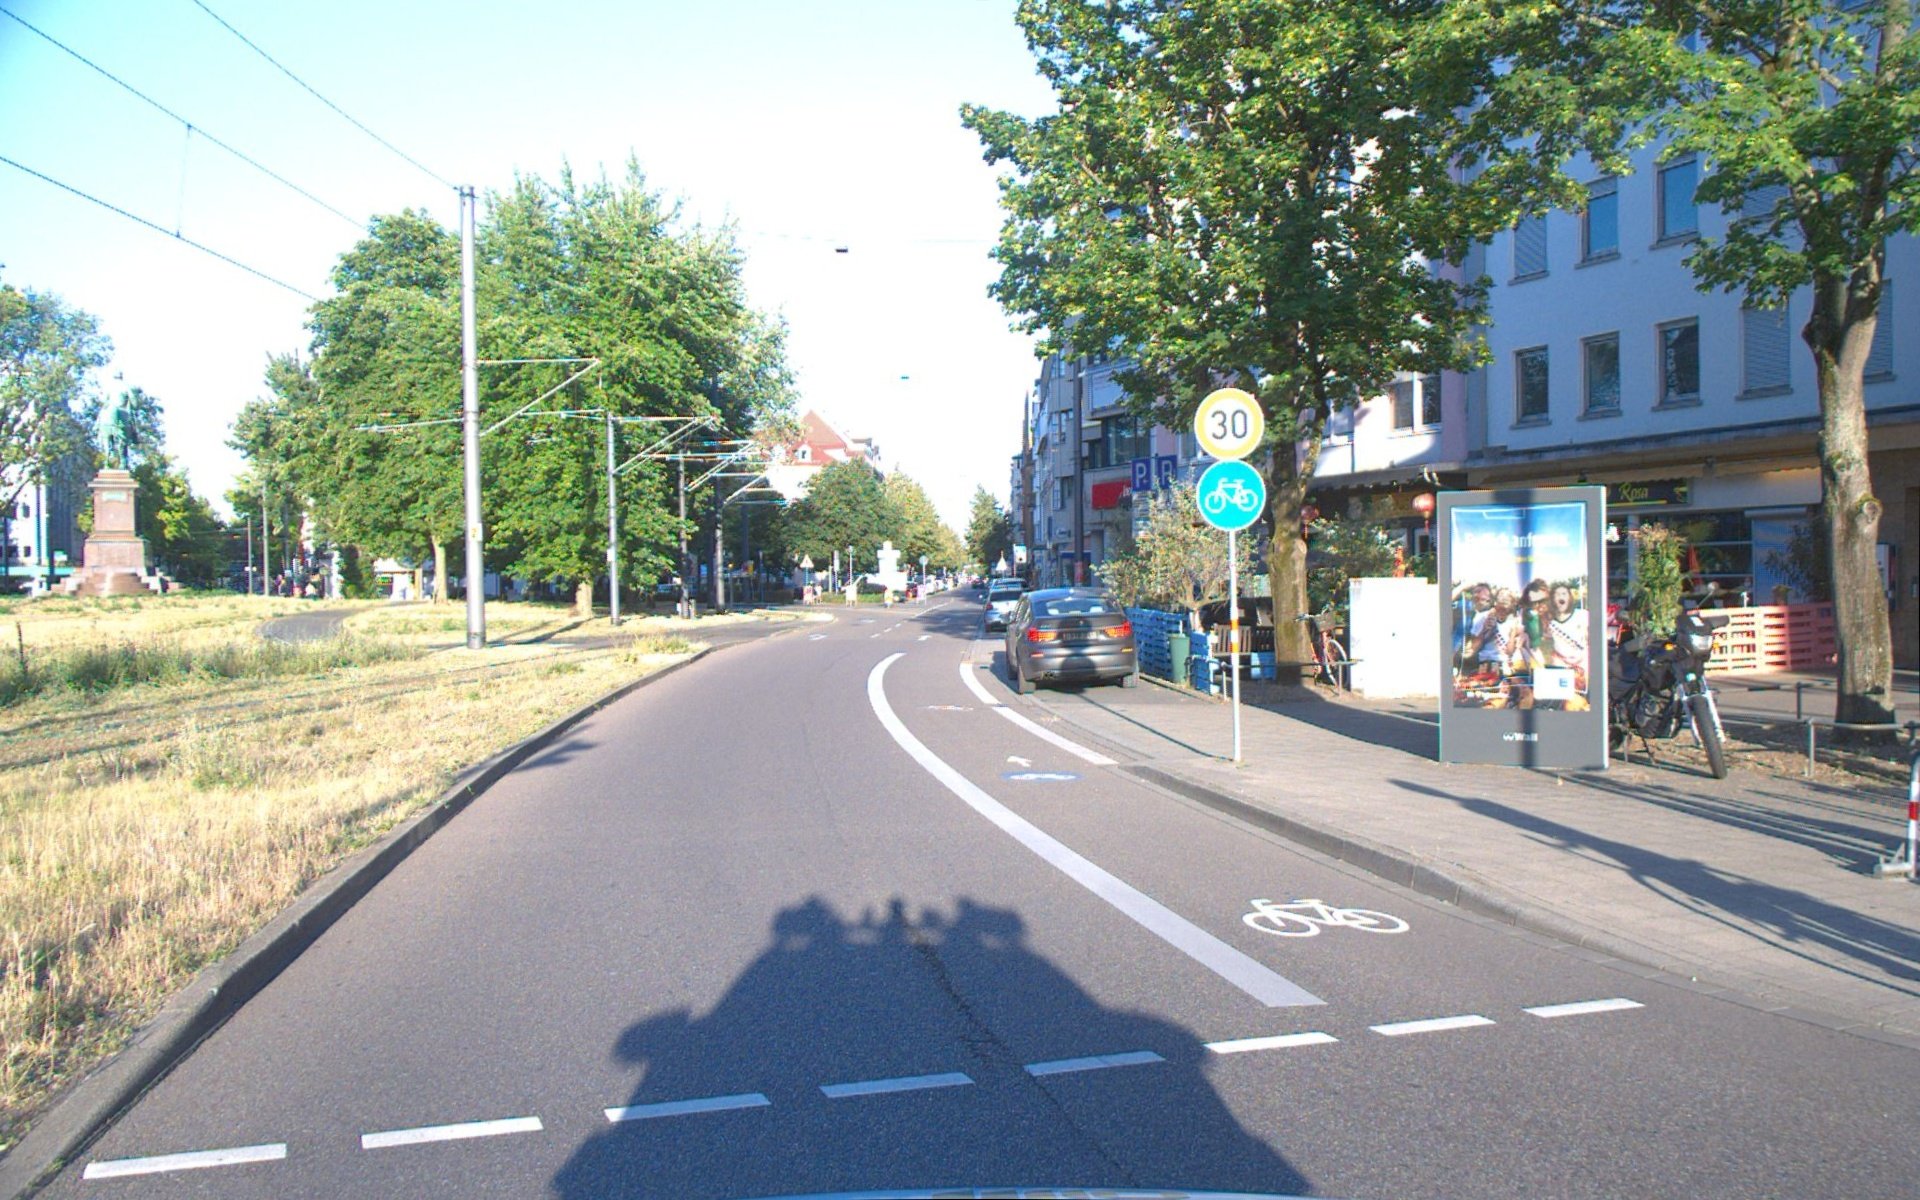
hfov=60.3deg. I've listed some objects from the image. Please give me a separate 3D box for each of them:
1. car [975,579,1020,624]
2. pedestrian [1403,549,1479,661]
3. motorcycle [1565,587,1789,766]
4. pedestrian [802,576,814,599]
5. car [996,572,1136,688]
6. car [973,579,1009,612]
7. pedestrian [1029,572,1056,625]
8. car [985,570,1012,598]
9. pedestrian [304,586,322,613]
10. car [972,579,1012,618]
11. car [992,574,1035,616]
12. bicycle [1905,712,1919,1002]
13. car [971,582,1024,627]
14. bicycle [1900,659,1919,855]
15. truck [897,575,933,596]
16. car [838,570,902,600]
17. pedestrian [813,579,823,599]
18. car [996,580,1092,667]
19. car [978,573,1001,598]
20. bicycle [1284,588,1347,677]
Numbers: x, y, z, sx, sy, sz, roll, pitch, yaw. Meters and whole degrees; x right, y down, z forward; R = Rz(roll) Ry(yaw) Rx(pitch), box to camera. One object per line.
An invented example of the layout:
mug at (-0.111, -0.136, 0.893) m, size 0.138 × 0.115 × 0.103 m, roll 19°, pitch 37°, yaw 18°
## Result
car at (1.380, 0.017, 62.365) m, size 1.552 × 1.618 × 3.667 m, roll 0°, pitch 1°, yaw -1°
pedestrian at (7.806, 0.074, 26.829) m, size 0.882 × 1.756 × 0.766 m, roll -2°, pitch 2°, yaw -30°
motorcycle at (5.987, 0.588, 13.974) m, size 0.629 × 1.367 × 2.197 m, roll 0°, pitch 1°, yaw -10°
pedestrian at (-10.542, -0.892, 114.723) m, size 0.682 × 1.586 × 0.695 m, roll 0°, pitch 1°, yaw 9°
car at (1.632, 0.401, 27.004) m, size 1.768 × 1.699 × 4.811 m, roll 0°, pitch 1°, yaw -3°
car at (1.552, -0.245, 82.054) m, size 1.753 × 1.534 × 3.922 m, roll 0°, pitch 1°, yaw 2°
pedestrian at (2.840, -0.057, 57.001) m, size 0.630 × 1.817 × 0.851 m, roll 0°, pitch 1°, yaw -23°
car at (2.547, -1.085, 110.508) m, size 1.755 × 1.823 × 4.092 m, roll -1°, pitch 0°, yaw 1°
pedestrian at (-45.770, -0.069, 117.034) m, size 0.843 × 1.871 × 0.997 m, roll 0°, pitch 2°, yaw 1°
car at (1.316, -0.088, 68.601) m, size 1.607 × 1.555 × 4.001 m, roll 0°, pitch 1°, yaw 1°
car at (2.354, -0.250, 73.954) m, size 1.747 × 1.836 × 4.401 m, roll 0°, pitch 1°, yaw -1°
bicycle at (4.096, 0.944, 5.380) m, size 0.508 × 1.045 × 1.777 m, roll 0°, pitch 1°, yaw -29°
car at (1.341, 0.141, 57.366) m, size 1.747 × 1.481 × 4.001 m, roll -1°, pitch 0°, yaw 2°
bicycle at (5.666, 0.856, 8.256) m, size 0.356 × 1.045 × 1.778 m, roll 0°, pitch 1°, yaw -28°
truck at (-6.116, -1.947, 224.360) m, size 4.839 × 2.660 × 2.000 m, roll -1°, pitch 0°, yaw 0°
car at (-6.960, -1.123, 127.798) m, size 4.542 × 2.290 × 2.185 m, roll 0°, pitch 0°, yaw -26°
pedestrian at (-9.856, -0.780, 114.727) m, size 0.550 × 1.388 × 0.615 m, roll 0°, pitch 1°, yaw 5°
car at (1.576, 0.403, 32.111) m, size 1.617 × 1.561 × 4.066 m, roll 0°, pitch 1°, yaw -1°
car at (2.308, -1.155, 128.505) m, size 1.674 × 1.867 × 4.307 m, roll 0°, pitch 1°, yaw 2°
bicycle at (5.204, 0.445, 24.307) m, size 0.437 × 1.231 × 2.082 m, roll 0°, pitch 1°, yaw -1°
